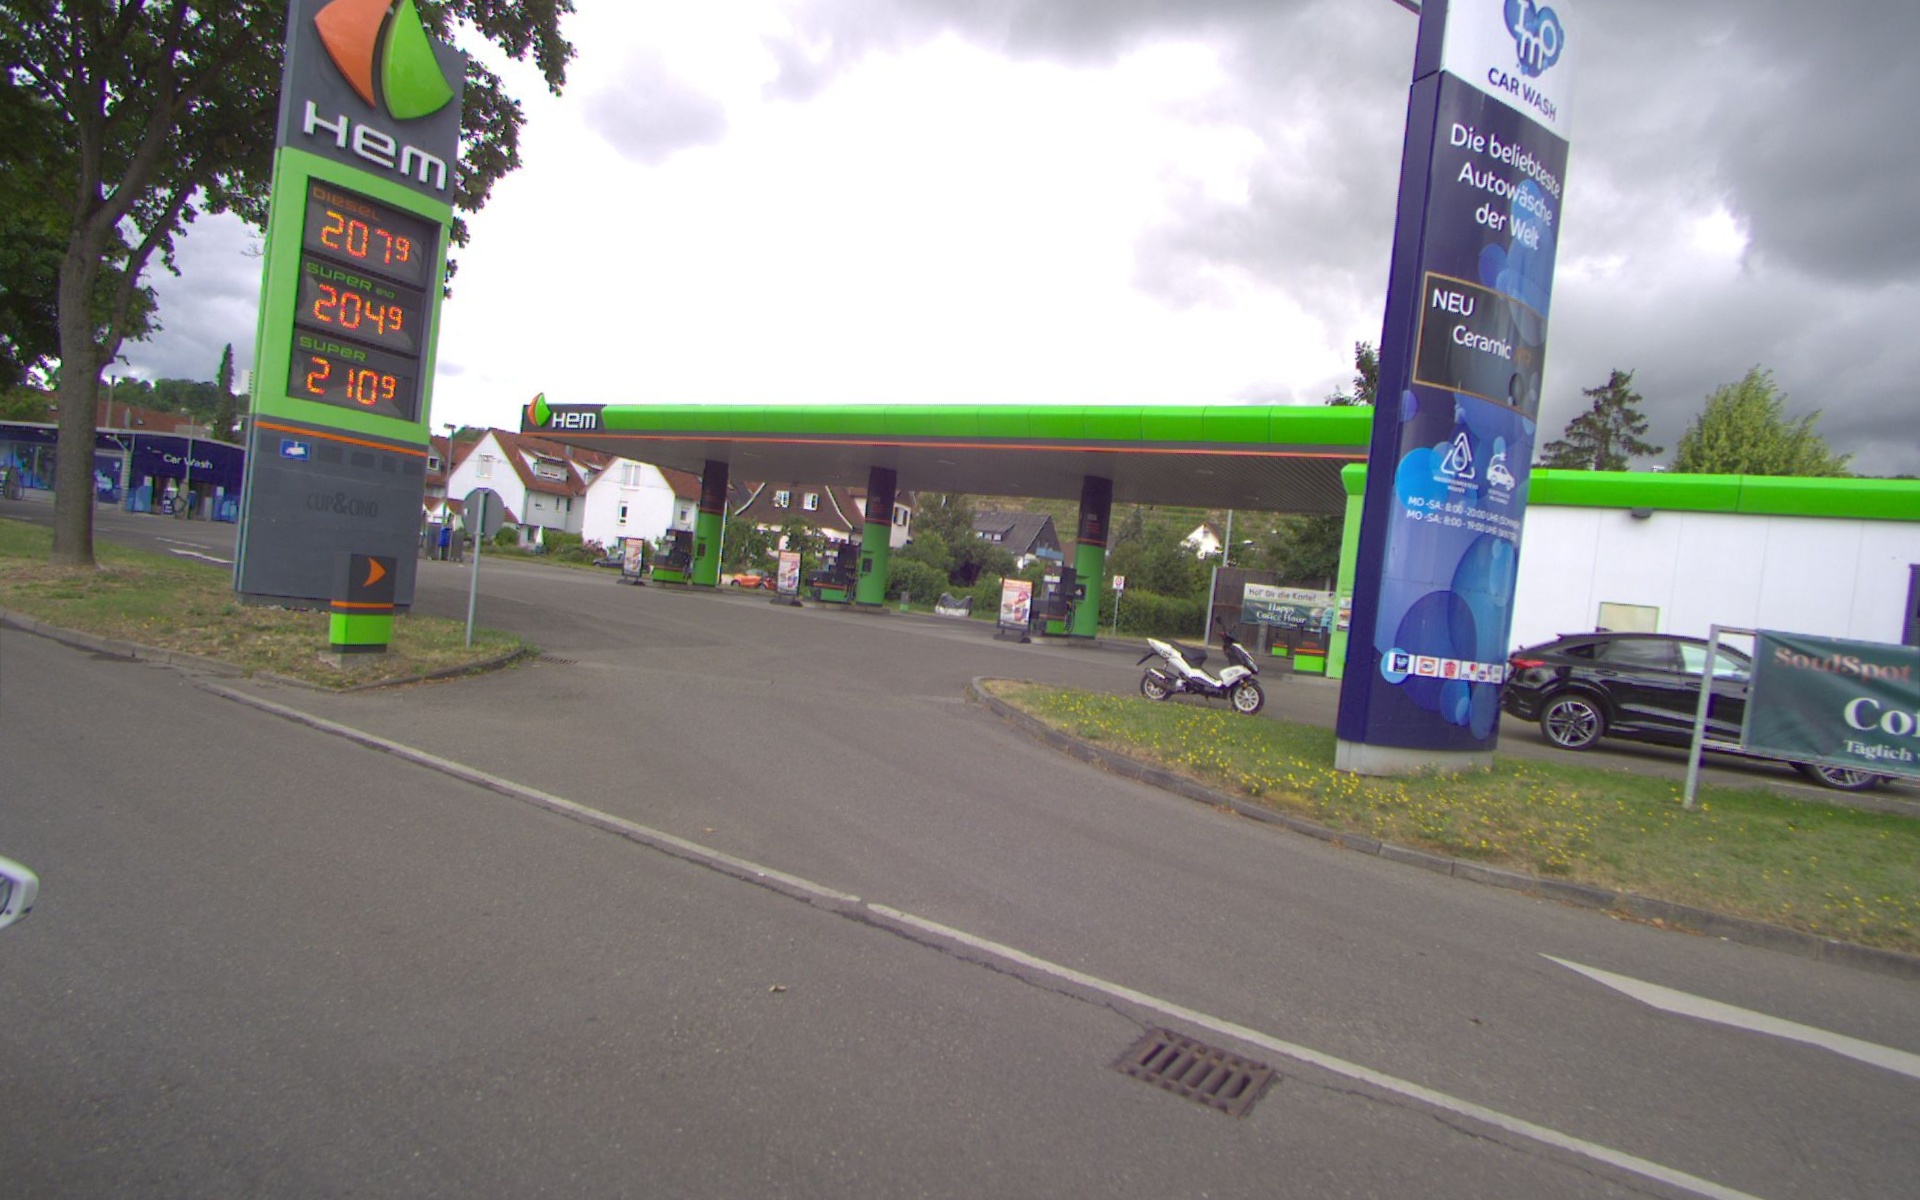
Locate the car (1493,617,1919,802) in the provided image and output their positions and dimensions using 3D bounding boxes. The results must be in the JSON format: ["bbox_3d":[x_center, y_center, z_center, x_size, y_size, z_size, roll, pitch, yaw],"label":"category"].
[{"bbox_3d":[9.638,1.299,13.387,4.265,1.697,1.821,6,2,32],"label":"car"}]

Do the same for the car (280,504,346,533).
[{"bbox_3d":[-54.643,-6.886,85.022,1.747,1.704,4.226,7,-2,29],"label":"car"}]

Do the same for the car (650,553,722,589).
[{"bbox_3d":[-17.387,-1.828,63.905,3.925,1.709,1.762,7,-1,19],"label":"car"}]

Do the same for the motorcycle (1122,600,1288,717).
[{"bbox_3d":[3.426,0.791,14.118,1.957,1.348,0.856,7,2,32],"label":"motorcycle"}]

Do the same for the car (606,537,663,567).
[{"bbox_3d":[-23.535,-3.483,72.670,3.933,1.705,1.691,7,1,32],"label":"car"}]

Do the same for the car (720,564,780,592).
[{"bbox_3d":[-13.038,-1.346,62.512,3.273,1.279,1.421,7,-1,19],"label":"car"}]
